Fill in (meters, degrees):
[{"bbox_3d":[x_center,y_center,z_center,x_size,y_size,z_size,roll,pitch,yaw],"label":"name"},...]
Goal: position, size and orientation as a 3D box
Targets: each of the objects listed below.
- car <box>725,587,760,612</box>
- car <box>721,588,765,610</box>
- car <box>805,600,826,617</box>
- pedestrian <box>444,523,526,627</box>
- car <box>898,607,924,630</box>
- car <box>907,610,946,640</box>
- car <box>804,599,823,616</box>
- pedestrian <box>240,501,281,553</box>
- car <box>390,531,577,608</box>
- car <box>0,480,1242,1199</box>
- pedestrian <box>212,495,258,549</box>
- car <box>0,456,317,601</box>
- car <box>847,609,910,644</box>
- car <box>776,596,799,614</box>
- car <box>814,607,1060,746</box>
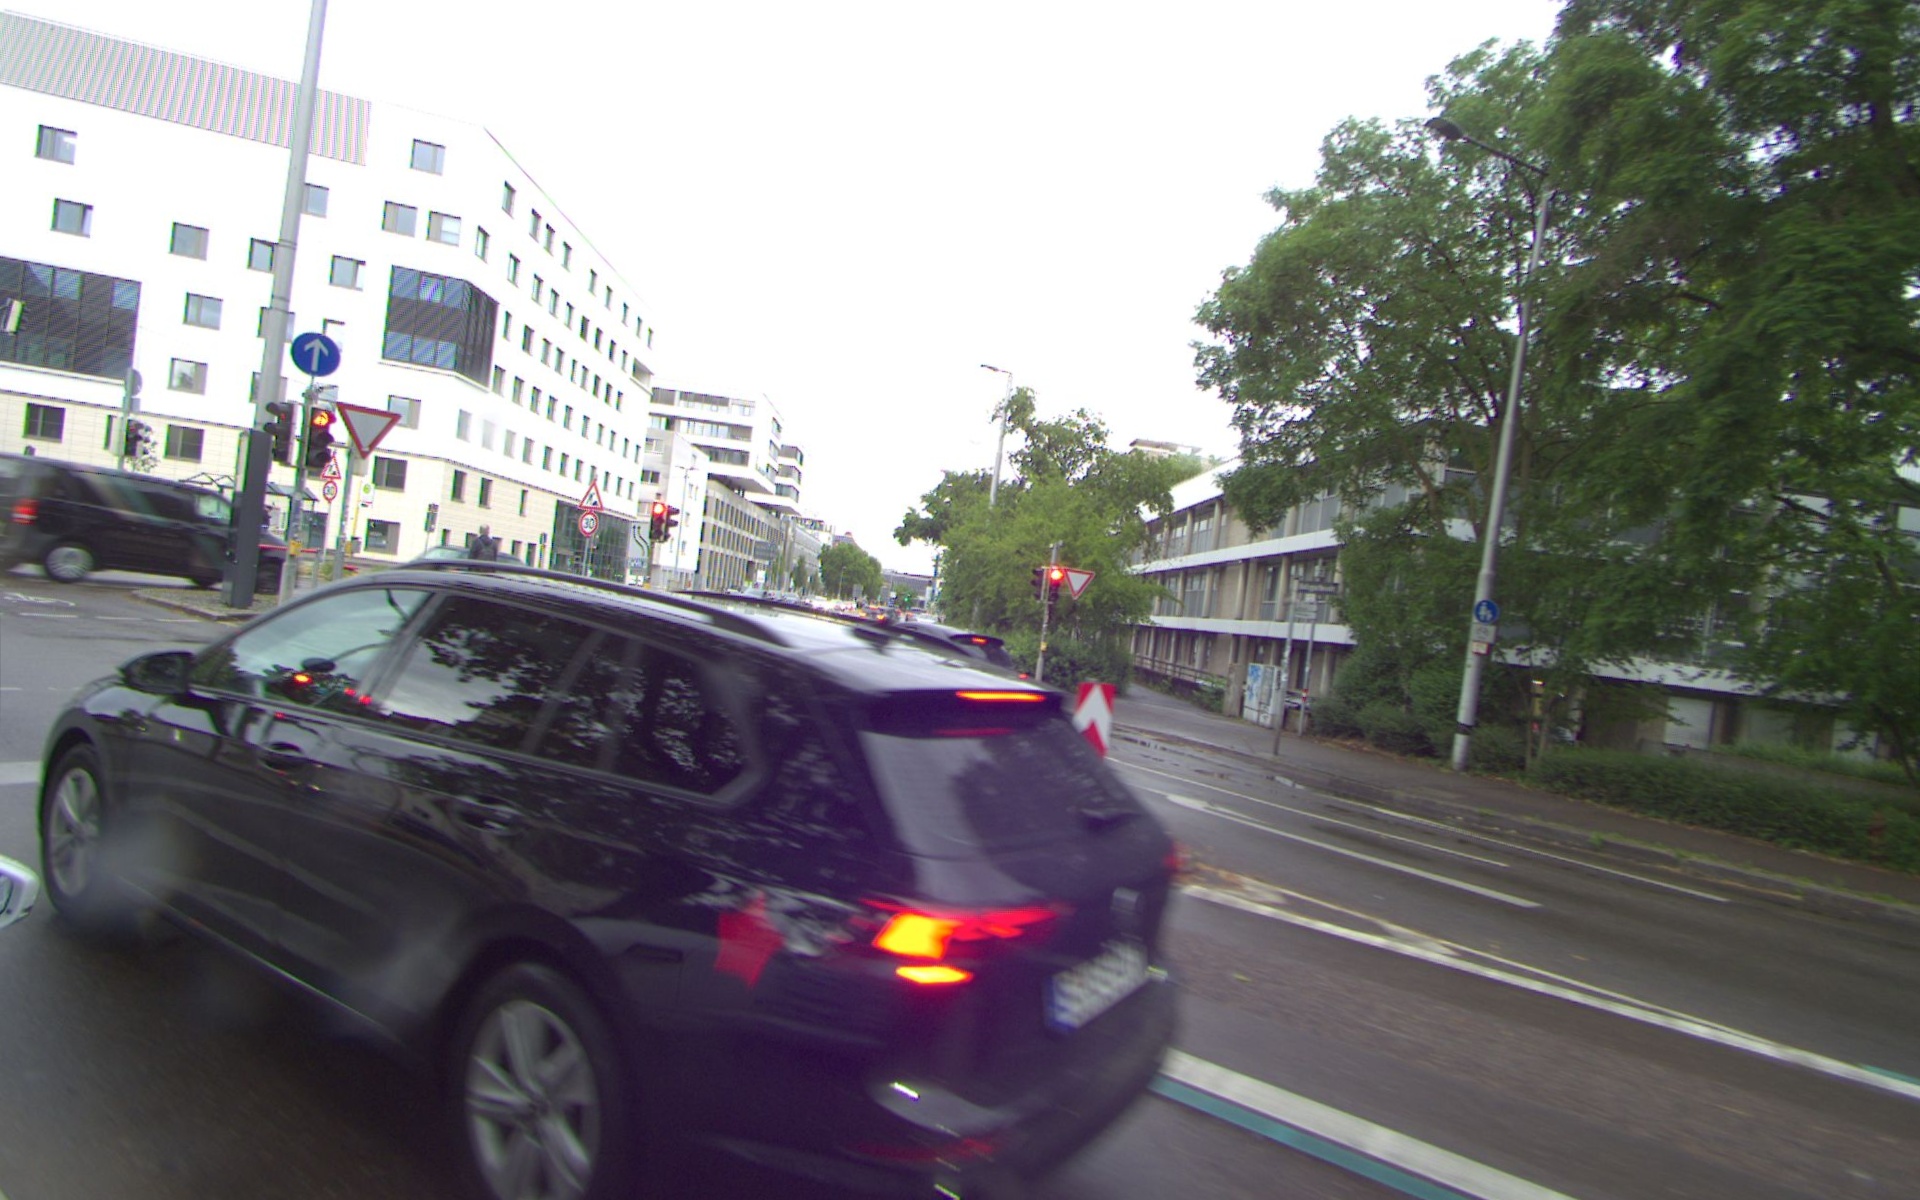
[{"bbox_3d":[-15.582,-0.025,72.343,1.766,1.460,4.000,9,-2,-5],"label":"car"},{"bbox_3d":[-21.619,-0.144,100.228,4.003,1.575,1.962,7,-2,38],"label":"car"},{"bbox_3d":[-15.437,0.891,107.386,1.966,1.394,4.382,8,-1,-8],"label":"car"},{"bbox_3d":[-9.539,-0.498,20.219,1.009,1.913,0.830,6,-2,23],"label":"pedestrian"},{"bbox_3d":[-4.320,1.701,89.466,1.833,1.669,4.781,7,-3,0],"label":"car"},{"bbox_3d":[-2.274,1.756,69.429,1.832,1.669,4.784,7,-3,7],"label":"car"},{"bbox_3d":[-17.726,0.889,121.695,1.966,1.684,4.382,8,-1,-8],"label":"car"},{"bbox_3d":[-28.883,-3.009,41.553,0.941,1.957,1.001,6,-2,41],"label":"pedestrian"},{"bbox_3d":[-13.824,-0.828,29.592,1.962,1.693,4.972,7,-1,18],"label":"car"},{"bbox_3d":[-1.545,0.614,3.483,4.436,1.483,1.673,8,0,31],"label":"car"},{"bbox_3d":[-28.018,-3.011,38.903,0.808,1.861,0.955,7,-2,21],"label":"pedestrian"},{"bbox_3d":[-14.148,-1.162,17.358,1.963,1.831,4.788,8,-1,20],"label":"car"},{"bbox_3d":[-4.413,1.482,55.056,1.833,1.437,4.005,7,-3,19],"label":"car"},{"bbox_3d":[-17.232,0.512,100.742,1.966,1.394,4.384,8,-2,-8],"label":"car"},{"bbox_3d":[-0.493,1.078,15.240,1.850,1.467,3.967,9,-1,-31],"label":"car"}]
